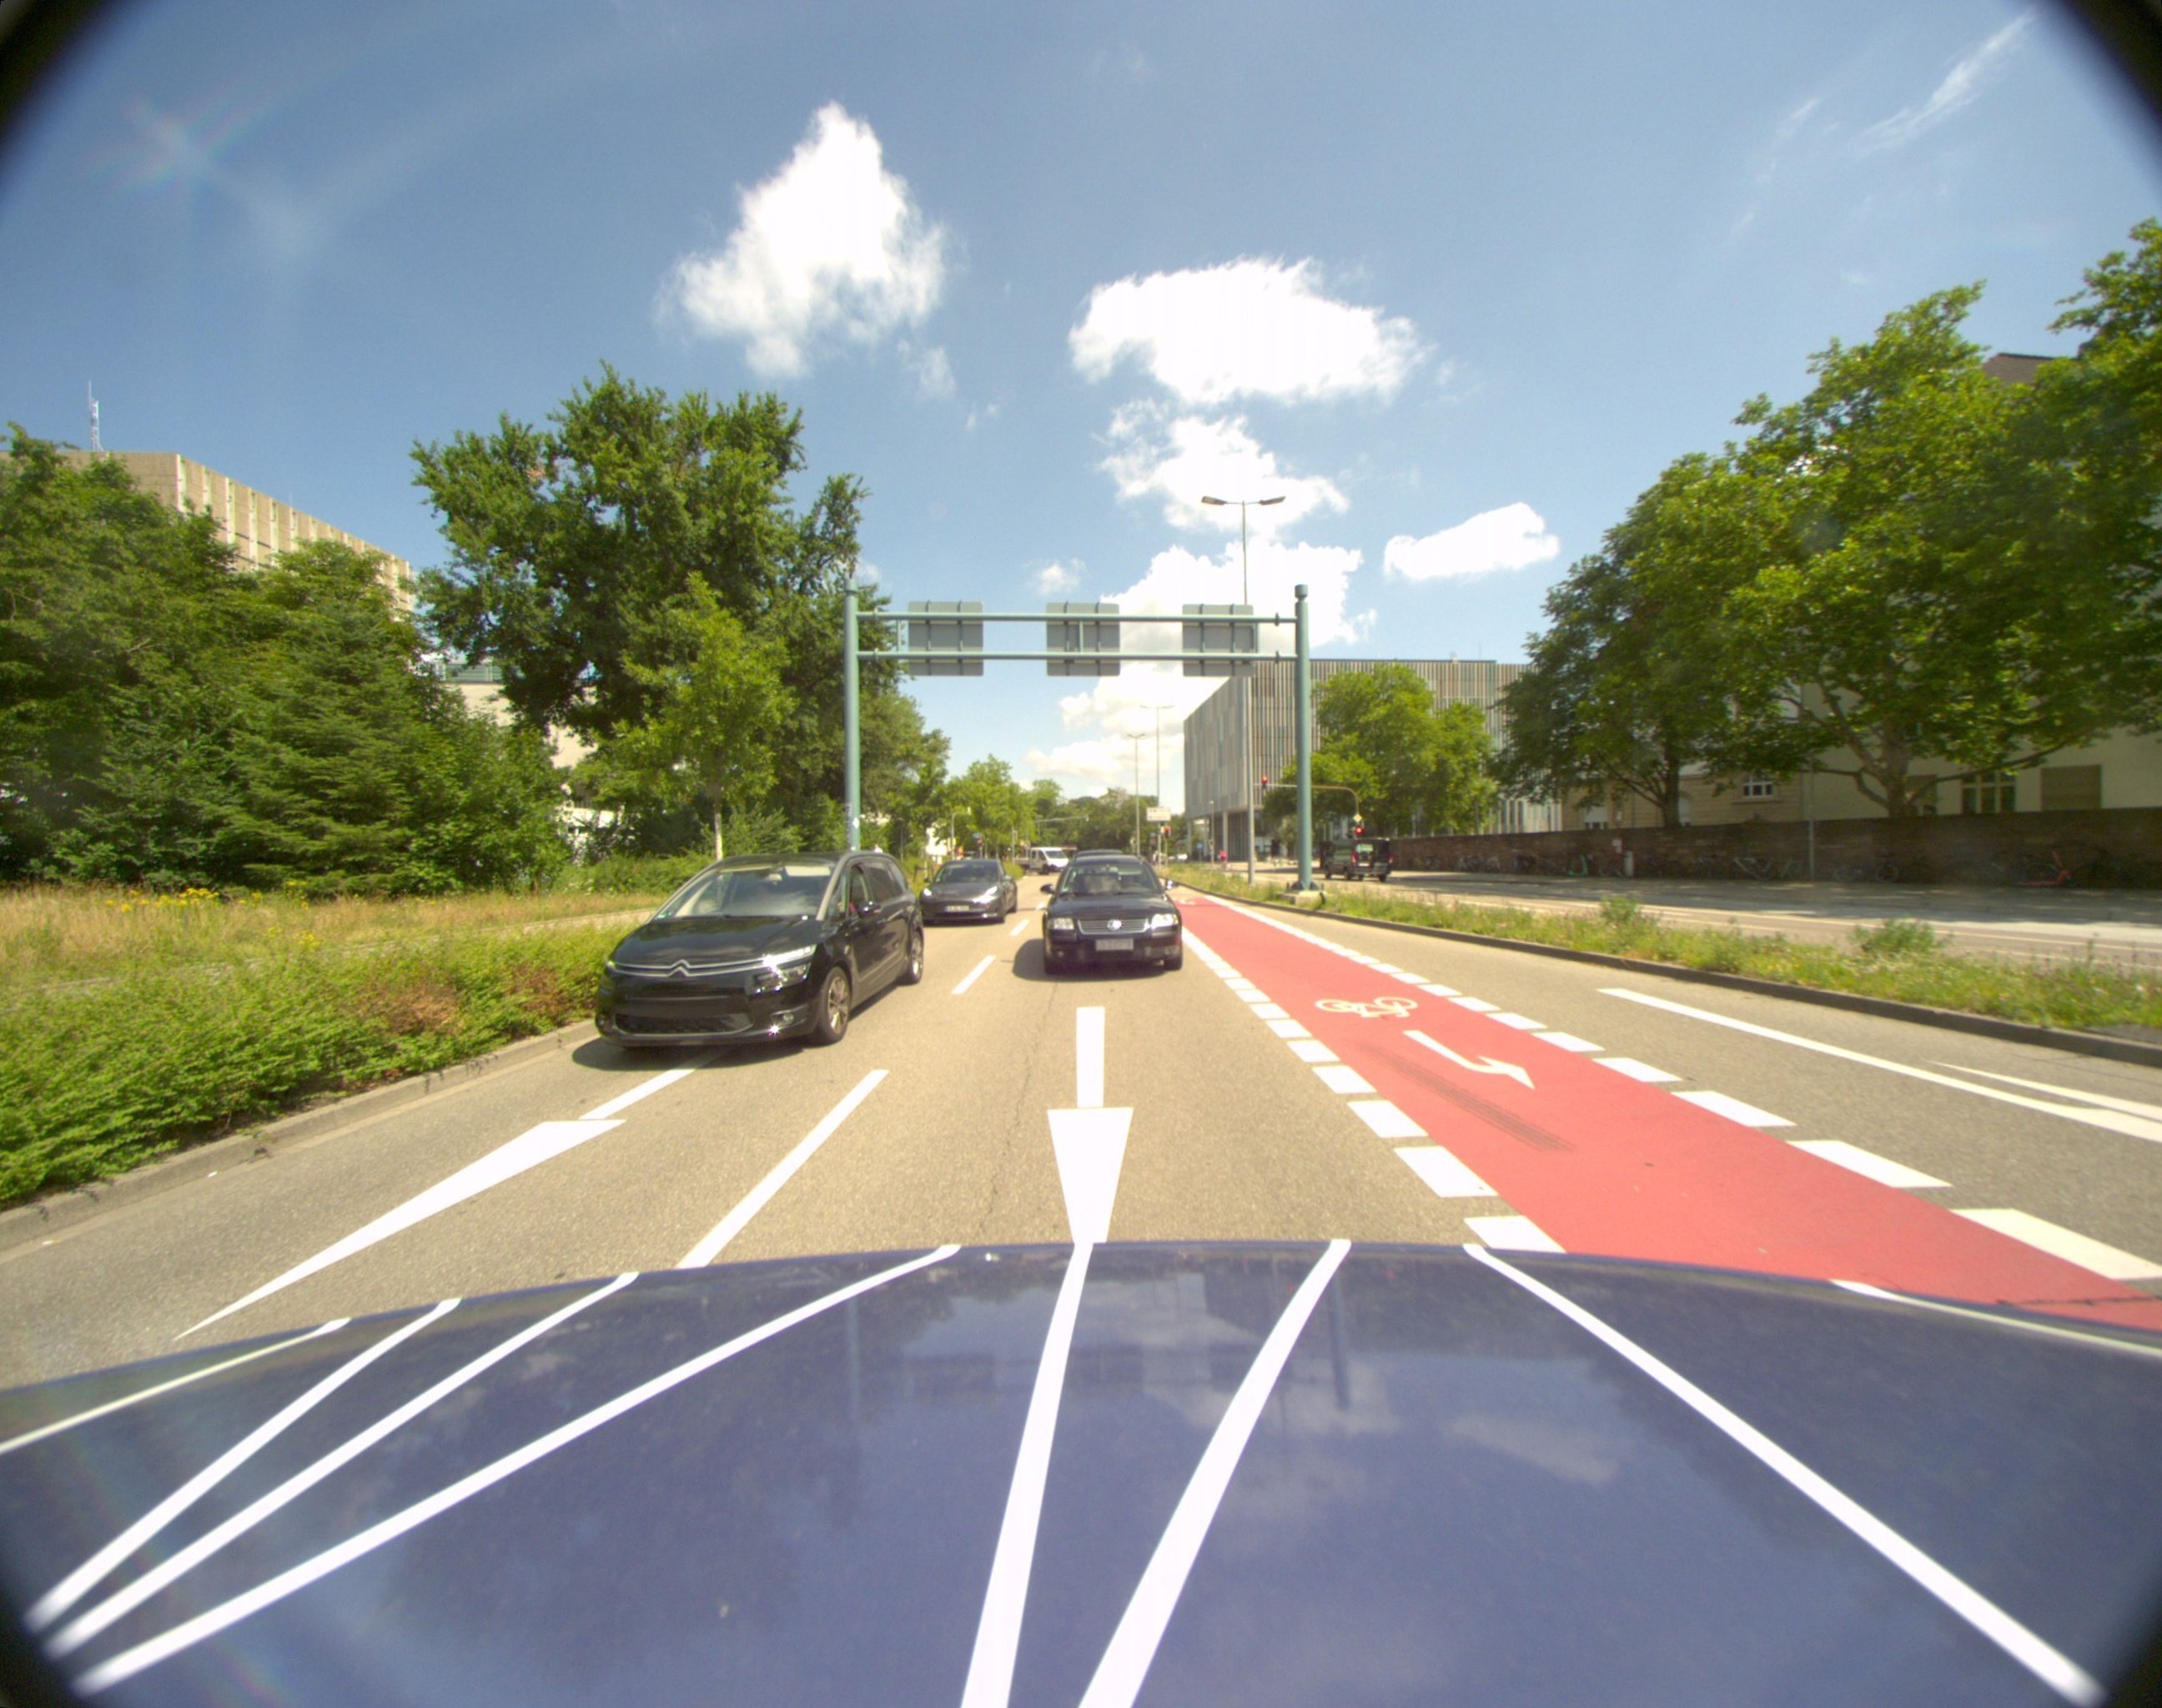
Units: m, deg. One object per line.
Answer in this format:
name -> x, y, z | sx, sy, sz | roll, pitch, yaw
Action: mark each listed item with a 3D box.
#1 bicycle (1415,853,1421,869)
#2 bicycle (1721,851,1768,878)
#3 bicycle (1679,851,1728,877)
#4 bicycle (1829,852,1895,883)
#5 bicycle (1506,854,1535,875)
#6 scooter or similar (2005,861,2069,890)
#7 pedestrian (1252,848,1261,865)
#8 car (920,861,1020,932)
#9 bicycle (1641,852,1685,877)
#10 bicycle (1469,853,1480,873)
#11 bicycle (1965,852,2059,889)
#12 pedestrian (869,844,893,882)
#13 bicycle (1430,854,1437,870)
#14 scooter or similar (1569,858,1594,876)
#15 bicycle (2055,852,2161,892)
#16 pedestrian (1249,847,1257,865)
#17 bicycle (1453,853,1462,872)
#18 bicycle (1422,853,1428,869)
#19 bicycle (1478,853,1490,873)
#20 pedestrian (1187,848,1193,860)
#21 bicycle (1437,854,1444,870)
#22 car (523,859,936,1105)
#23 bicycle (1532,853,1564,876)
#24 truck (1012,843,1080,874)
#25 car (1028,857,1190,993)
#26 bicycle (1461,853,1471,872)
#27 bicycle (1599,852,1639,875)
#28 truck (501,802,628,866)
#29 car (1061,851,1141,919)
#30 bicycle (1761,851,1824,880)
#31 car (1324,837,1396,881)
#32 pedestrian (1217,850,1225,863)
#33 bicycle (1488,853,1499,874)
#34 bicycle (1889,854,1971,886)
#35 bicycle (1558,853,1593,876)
bicycle -> 22.196, 0.468, 50.047 | 0.329, 1.012, 1.673 | 0, 1, 22
bicycle -> 25.710, 0.399, 29.454 | 0.377, 1.037, 1.415 | -1, 1, -14
bicycle -> 25.385, 0.390, 31.013 | 0.383, 1.037, 1.668 | -1, 1, -12
bicycle -> 26.586, 0.444, 25.887 | 0.398, 1.037, 1.582 | -1, 1, -14
bicycle -> 23.654, 0.546, 40.939 | 0.382, 1.101, 1.669 | -1, 1, -9
scooter or similar -> 27.032, 0.597, 21.501 | 0.353, 0.789, 1.067 | -1, 1, -24
pedestrian -> 19.954, 0.302, 86.347 | 0.715, 1.906, 0.807 | -2, 1, -5
car -> -2.484, 0.901, 17.965 | 1.766, 1.409, 4.363 | -1, 0, -1
bicycle -> 25.043, 0.432, 32.737 | 0.383, 1.037, 1.668 | -1, 1, -12
bicycle -> 22.956, 0.508, 44.338 | 0.382, 1.101, 1.673 | 0, 1, 22
bicycle -> 27.440, 0.460, 22.434 | 0.398, 1.037, 1.759 | -1, 1, -15
pedestrian -> -9.505, 0.424, 36.114 | 0.844, 1.755, 0.841 | -2, 1, 0
bicycle -> 22.456, 0.488, 48.388 | 0.329, 1.012, 1.673 | 0, 1, 22
scooter or similar -> 23.728, 0.611, 36.021 | 0.353, 0.838, 1.068 | -1, 1, -13
bicycle -> 27.961, 0.456, 20.553 | 0.398, 1.037, 1.955 | -1, 1, -16
pedestrian -> 19.272, 0.217, 85.105 | 0.632, 1.907, 0.718 | -2, 1, -3
bicycle -> 22.593, 0.501, 45.593 | 0.382, 1.101, 1.673 | 0, 1, 22
bicycle -> 22.326, 0.475, 49.316 | 0.329, 1.012, 1.673 | 0, 1, 22
bicycle -> 23.056, 0.516, 43.477 | 0.382, 1.101, 1.673 | 0, 1, 22
pedestrian -> 16.645, 0.008, 116.138 | 0.715, 1.906, 0.807 | -2, 1, -5
bicycle -> 22.560, 0.502, 47.674 | 0.329, 1.012, 1.673 | 0, 1, 22
car -> -2.909, 0.924, 7.608 | 1.862, 1.613, 4.520 | -3, 0, 2
bicycle -> 23.913, 0.526, 38.924 | 0.383, 1.101, 1.668 | -1, 1, -10
truck -> -2.902, 0.407, 61.490 | 2.468, 2.287, 5.801 | -3, 0, -38
car -> 0.368, 0.804, 10.783 | 1.751, 1.426, 4.520 | -3, 0, 1
bicycle -> 22.852, 0.499, 45.154 | 0.382, 1.101, 1.673 | 0, 1, 22
bicycle -> 24.531, 0.418, 34.658 | 0.383, 1.037, 1.668 | -1, 1, -12
truck -> -27.162, -1.010, 40.391 | 2.098, 3.005, 7.121 | -2, 1, -4
car -> 0.517, 0.715, 19.741 | 1.751, 1.495, 4.520 | -3, 0, 1
bicycle -> 26.083, 0.411, 27.897 | 0.398, 1.037, 1.759 | -1, 1, -14
car -> 14.607, 0.245, 40.020 | 2.214, 2.158, 4.520 | 0, 0, 1
pedestrian -> 20.029, 0.369, 108.847 | 0.825, 1.906, 0.807 | -2, 1, -5
bicycle -> 23.191, 0.523, 42.720 | 0.382, 1.101, 1.673 | 0, 1, 22
bicycle -> 26.996, 0.491, 24.201 | 0.398, 0.998, 1.759 | -1, 1, -14
bicycle -> 24.226, 0.498, 37.251 | 0.383, 1.101, 1.668 | -1, 1, -12
